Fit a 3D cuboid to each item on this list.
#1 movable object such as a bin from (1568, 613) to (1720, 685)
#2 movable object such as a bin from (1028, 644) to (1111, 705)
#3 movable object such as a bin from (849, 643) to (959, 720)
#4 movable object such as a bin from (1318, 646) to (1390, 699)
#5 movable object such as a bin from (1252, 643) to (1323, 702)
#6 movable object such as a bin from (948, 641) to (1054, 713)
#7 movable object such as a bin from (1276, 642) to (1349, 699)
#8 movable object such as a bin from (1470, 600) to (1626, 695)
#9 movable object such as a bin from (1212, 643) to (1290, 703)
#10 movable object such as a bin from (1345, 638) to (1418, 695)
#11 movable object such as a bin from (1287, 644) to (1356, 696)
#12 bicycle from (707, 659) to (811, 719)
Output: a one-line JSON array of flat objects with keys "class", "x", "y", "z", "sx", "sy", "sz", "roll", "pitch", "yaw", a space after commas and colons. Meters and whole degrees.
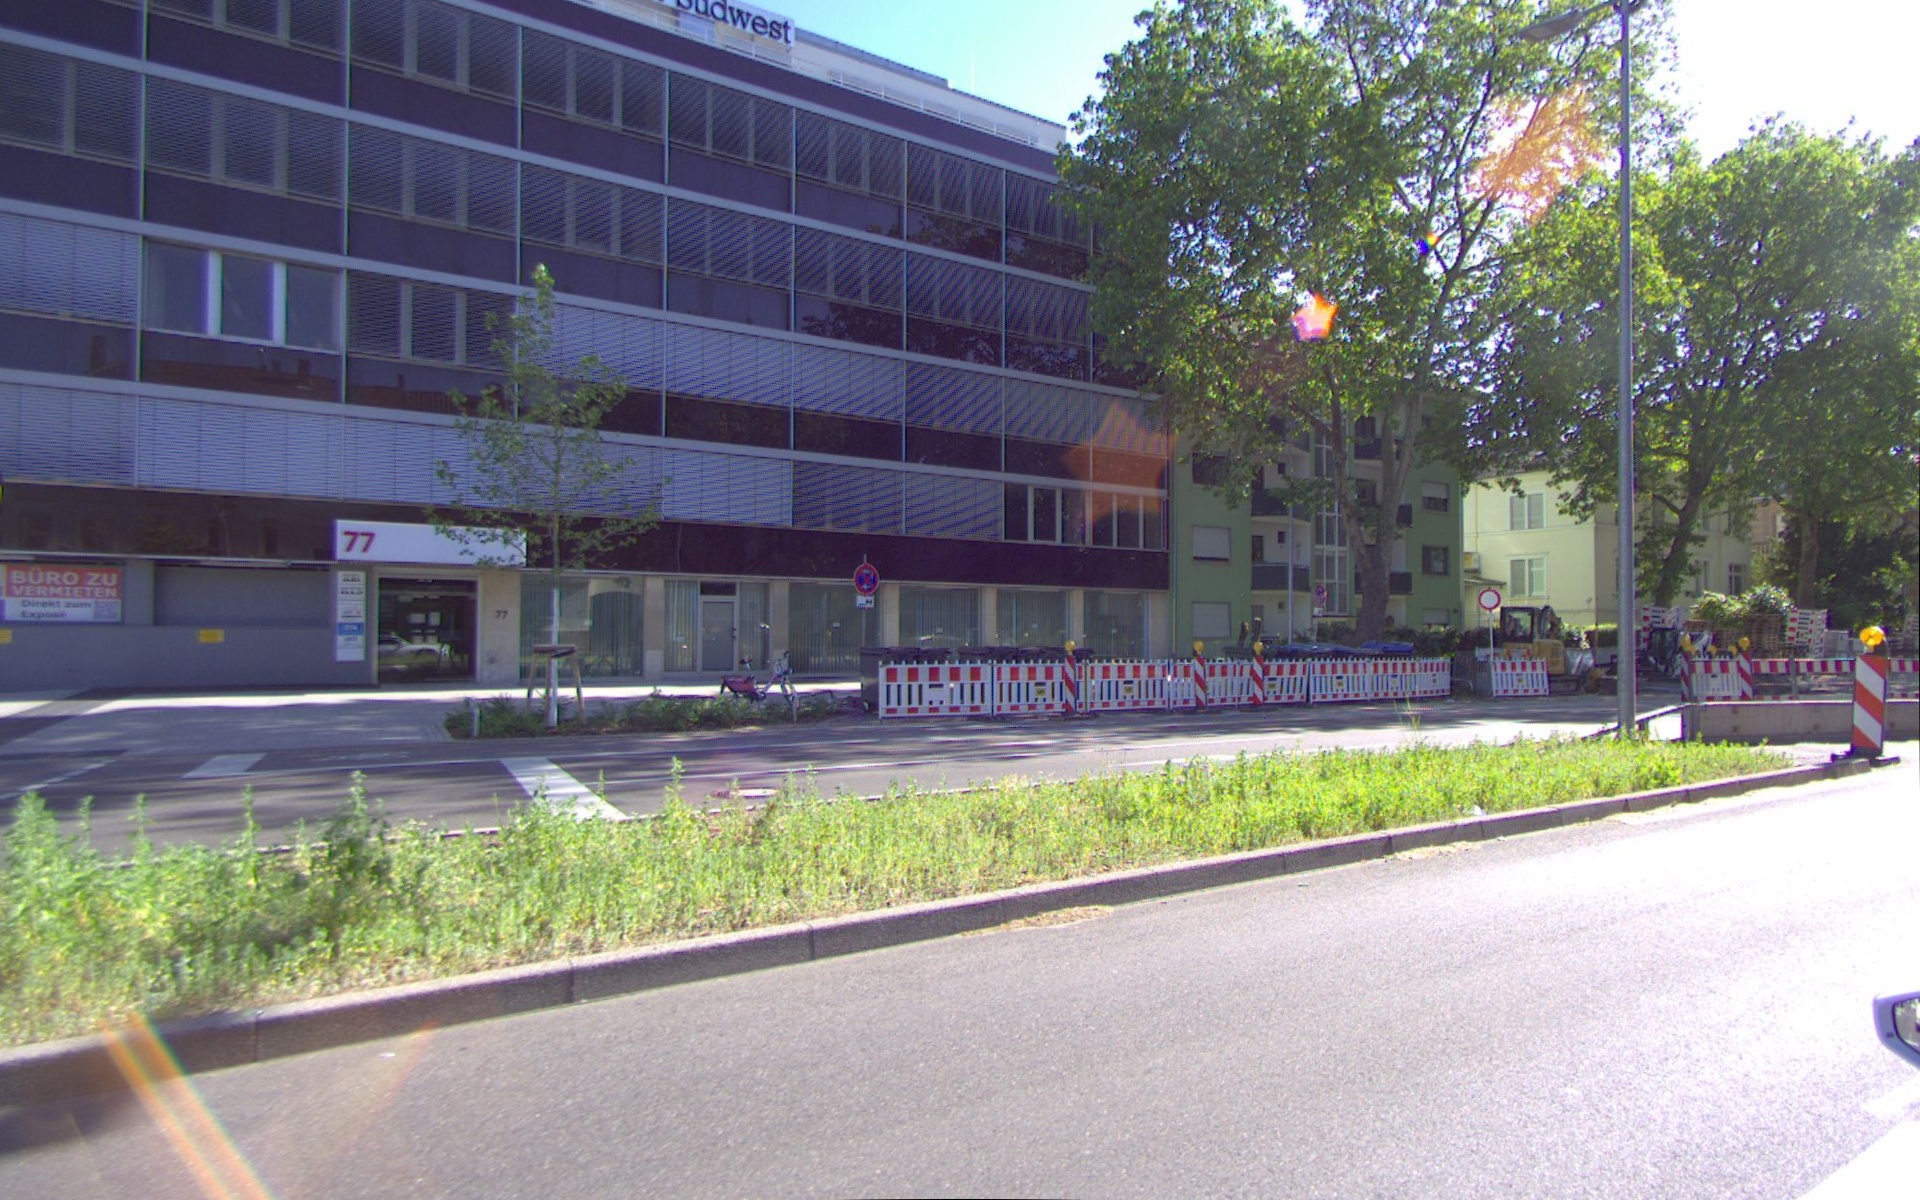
[{"class": "movable object such as a bin", "x": 23.467, "y": 1.671, "z": 34.420, "sx": 5.529, "sy": 2.308, "sz": 1.986, "roll": 1, "pitch": -3, "yaw": -29}, {"class": "movable object such as a bin", "x": 2.336, "y": 1.572, "z": 21.622, "sx": 1.225, "sy": 1.219, "sz": 1.389, "roll": 1, "pitch": -1, "yaw": -27}, {"class": "movable object such as a bin", "x": -1.081, "y": 1.544, "z": 19.487, "sx": 1.833, "sy": 1.406, "sz": 1.109, "roll": 1, "pitch": -1, "yaw": -29}, {"class": "movable object such as a bin", "x": 10.005, "y": 1.818, "z": 25.508, "sx": 1.523, "sy": 1.287, "sz": 0.975, "roll": 1, "pitch": -1, "yaw": -31}, {"class": "movable object such as a bin", "x": 7.961, "y": 1.728, "z": 24.435, "sx": 0.924, "sy": 1.355, "sz": 1.404, "roll": 1, "pitch": -1, "yaw": -28}, {"class": "movable object such as a bin", "x": 0.847, "y": 1.558, "z": 20.766, "sx": 1.833, "sy": 1.406, "sz": 1.209, "roll": 1, "pitch": -1, "yaw": -29}, {"class": "movable object such as a bin", "x": 8.779, "y": 1.734, "z": 25.063, "sx": 1.055, "sy": 1.355, "sz": 1.404, "roll": 1, "pitch": -1, "yaw": -29}, {"class": "movable object such as a bin", "x": 18.295, "y": 1.430, "z": 31.164, "sx": 5.299, "sy": 2.742, "sz": 2.133, "roll": 1, "pitch": -1, "yaw": -34}, {"class": "movable object such as a bin", "x": 6.948, "y": 1.722, "z": 24.045, "sx": 1.142, "sy": 1.355, "sz": 1.404, "roll": 1, "pitch": -1, "yaw": -28}, {"class": "movable object such as a bin", "x": 11.292, "y": 1.748, "z": 26.888, "sx": 1.608, "sy": 1.441, "sz": 1.259, "roll": 0, "pitch": -1, "yaw": 34}, {"class": "movable object such as a bin", "x": 9.507, "y": 1.815, "z": 26.388, "sx": 1.523, "sy": 1.287, "sz": 0.975, "roll": 1, "pitch": -1, "yaw": -31}, {"class": "bicycle", "x": -3.841, "y": 1.685, "z": 19.262, "sx": 1.857, "sy": 1.051, "sz": 0.624, "roll": 1, "pitch": -1, "yaw": -30}]
